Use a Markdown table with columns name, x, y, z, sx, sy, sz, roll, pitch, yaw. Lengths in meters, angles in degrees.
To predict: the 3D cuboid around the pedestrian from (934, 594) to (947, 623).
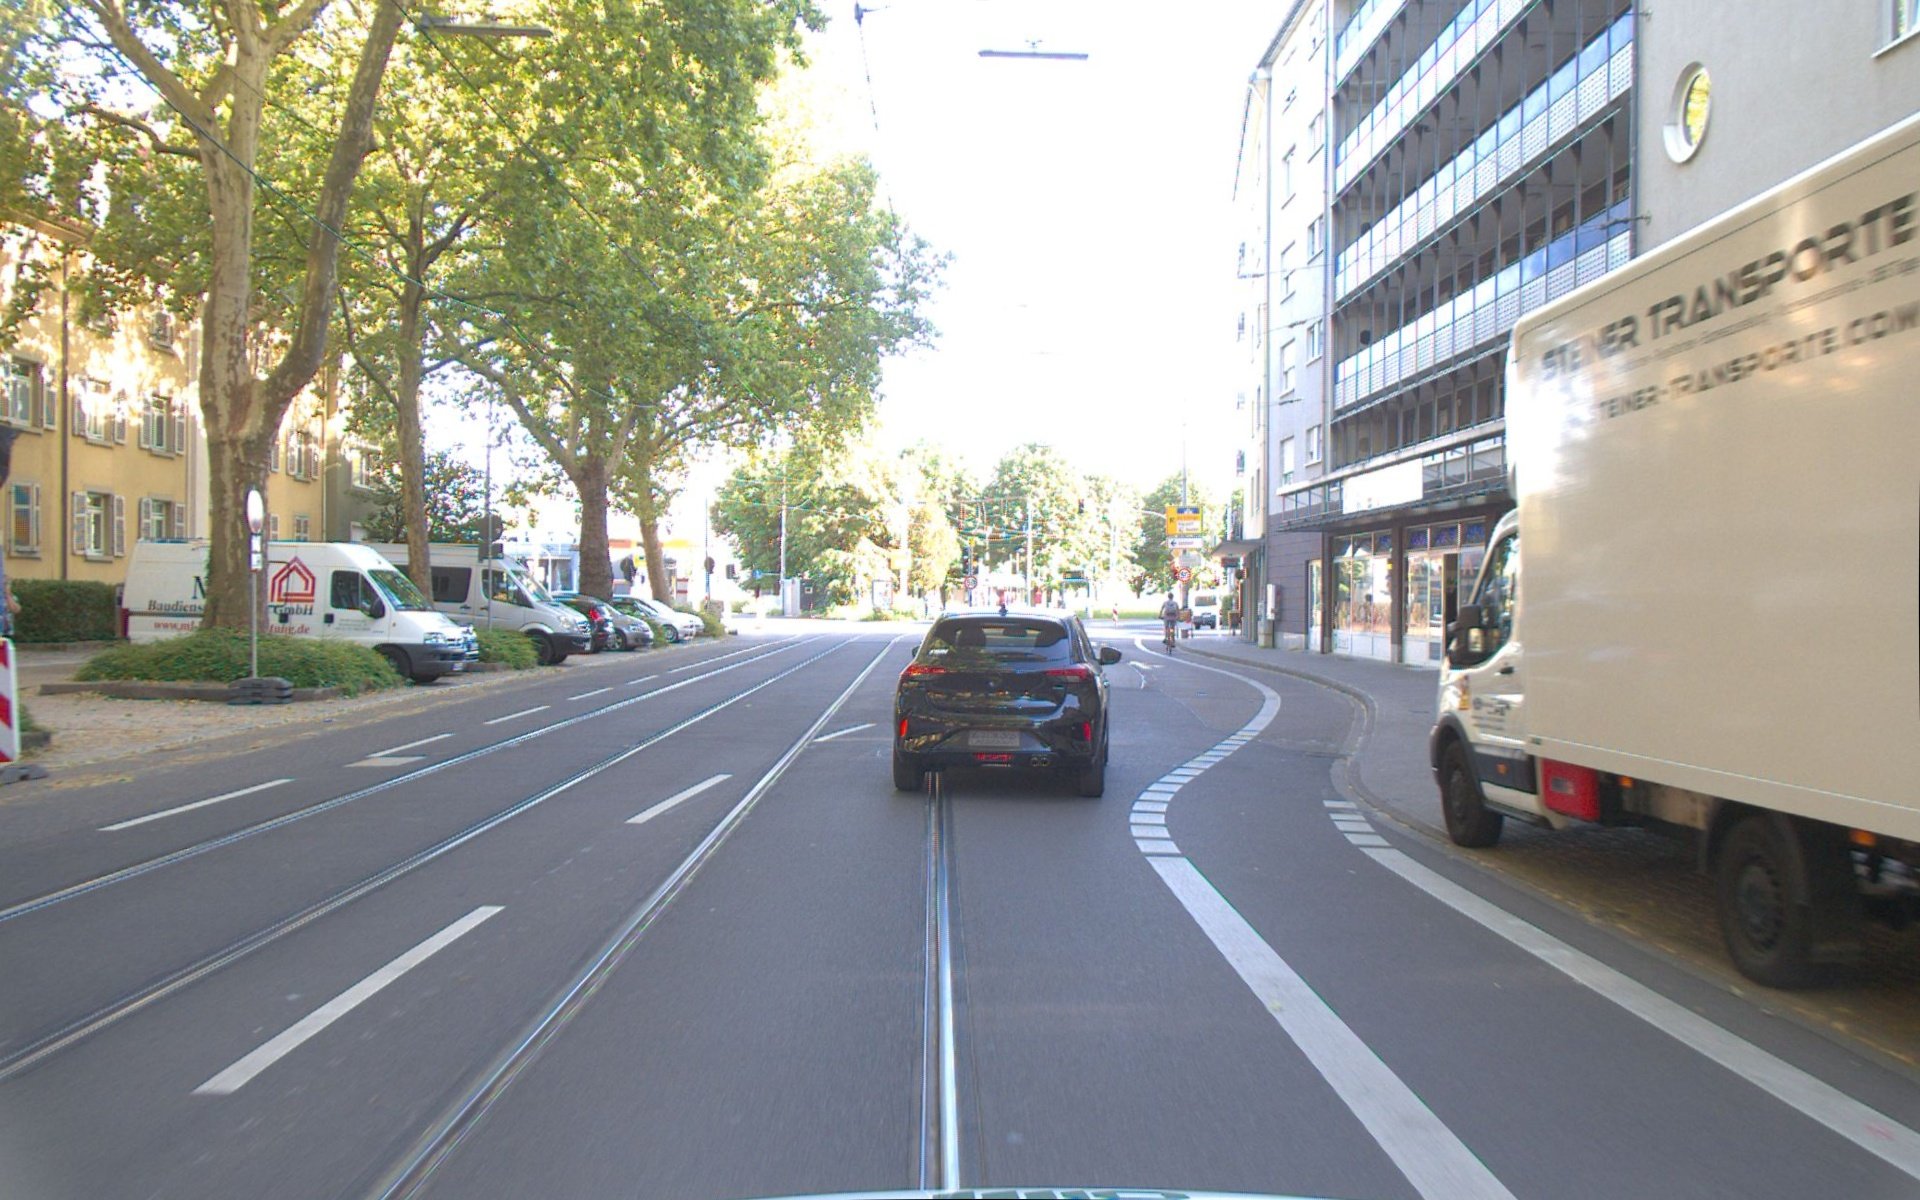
| name | x | y | z | sx | sy | sz | roll | pitch | yaw |
| --- | --- | --- | --- | --- | --- | --- | --- | --- | --- |
| pedestrian | -1.272 | 0.566 | 107.871 | 0.604 | 1.886 | 0.583 | 1 | -1 | 24 |

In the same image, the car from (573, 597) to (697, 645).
| name | x | y | z | sx | sy | sz | roll | pitch | yaw |
| --- | --- | --- | --- | --- | --- | --- | --- | --- | --- |
| car | -11.221 | 0.716 | 57.280 | 3.905 | 1.541 | 1.650 | 2 | 0 | 0 |

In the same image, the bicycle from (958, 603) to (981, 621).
| name | x | y | z | sx | sy | sz | roll | pitch | yaw |
| --- | --- | --- | --- | --- | --- | --- | --- | --- | --- |
| bicycle | 0.567 | 0.726 | 98.133 | 0.771 | 1.009 | 2.245 | 1 | 0 | 15 |

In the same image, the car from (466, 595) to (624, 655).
| name | x | y | z | sx | sy | sz | roll | pitch | yaw |
| --- | --- | --- | --- | --- | --- | --- | --- | --- | --- |
| car | -11.427 | 0.680 | 45.744 | 3.905 | 1.541 | 1.650 | 2 | 0 | 0 |

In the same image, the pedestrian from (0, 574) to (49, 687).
| name | x | y | z | sx | sy | sz | roll | pitch | yaw |
| --- | --- | --- | --- | --- | --- | --- | --- | --- | --- |
| pedestrian | -14.206 | 0.439 | 24.582 | 0.744 | 1.640 | 0.889 | 2 | 0 | 7 |

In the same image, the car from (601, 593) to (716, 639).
| name | x | y | z | sx | sy | sz | roll | pitch | yaw |
| --- | --- | --- | --- | --- | --- | --- | --- | --- | --- |
| car | -11.434 | 0.601 | 62.848 | 4.086 | 1.700 | 1.963 | 0 | 0 | -4 |

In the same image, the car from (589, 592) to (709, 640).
| name | x | y | z | sx | sy | sz | roll | pitch | yaw |
| --- | --- | --- | --- | --- | --- | --- | --- | --- | --- |
| car | -11.304 | 0.586 | 60.415 | 4.086 | 1.700 | 1.963 | 0 | 0 | -4 |

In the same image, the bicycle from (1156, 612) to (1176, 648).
| name | x | y | z | sx | sy | sz | roll | pitch | yaw |
| --- | --- | --- | --- | --- | --- | --- | --- | --- | --- |
| bicycle | 6.404 | 0.922 | 51.290 | 0.497 | 1.086 | 1.566 | 0 | 0 | 11 |

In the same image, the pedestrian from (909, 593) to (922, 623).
| name | x | y | z | sx | sy | sz | roll | pitch | yaw |
| --- | --- | --- | --- | --- | --- | --- | --- | --- | --- |
| pedestrian | -2.882 | 0.522 | 107.510 | 0.604 | 1.886 | 0.583 | 1 | -1 | 25 |

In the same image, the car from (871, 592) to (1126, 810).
| name | x | y | z | sx | sy | sz | roll | pitch | yaw |
| --- | --- | --- | --- | --- | --- | --- | --- | --- | --- |
| car | 0.469 | 0.713 | 13.909 | 1.743 | 1.522 | 4.003 | 1 | 0 | 7 |

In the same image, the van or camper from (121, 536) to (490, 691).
| name | x | y | z | sx | sy | sz | roll | pitch | yaw |
| --- | --- | --- | --- | --- | --- | --- | --- | --- | --- |
| van or camper | -11.206 | 0.225 | 28.607 | 5.387 | 2.421 | 2.270 | 2 | 0 | 3 |

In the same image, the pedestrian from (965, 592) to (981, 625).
| name | x | y | z | sx | sy | sz | roll | pitch | yaw |
| --- | --- | --- | --- | --- | --- | --- | --- | --- | --- |
| pedestrian | 0.566 | 0.375 | 70.433 | 0.639 | 1.387 | 0.645 | 0 | 0 | 6 |

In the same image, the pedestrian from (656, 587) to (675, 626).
| name | x | y | z | sx | sy | sz | roll | pitch | yaw |
| --- | --- | --- | --- | --- | --- | --- | --- | --- | --- |
| pedestrian | -17.644 | 0.394 | 99.070 | 0.812 | 2.259 | 0.888 | 2 | -1 | -35 |

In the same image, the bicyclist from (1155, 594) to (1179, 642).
| name | x | y | z | sx | sy | sz | roll | pitch | yaw |
| --- | --- | --- | --- | --- | --- | --- | --- | --- | --- |
| bicyclist | 6.423 | 0.558 | 51.333 | 0.691 | 1.461 | 0.703 | 0 | 0 | 11 |

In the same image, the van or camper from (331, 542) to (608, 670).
| name | x | y | z | sx | sy | sz | roll | pitch | yaw |
| --- | --- | --- | --- | --- | --- | --- | --- | --- | --- |
| van or camper | -11.145 | 0.136 | 37.927 | 5.607 | 2.690 | 2.269 | 2 | 0 | -1 |

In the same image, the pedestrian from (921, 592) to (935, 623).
| name | x | y | z | sx | sy | sz | roll | pitch | yaw |
| --- | --- | --- | --- | --- | --- | --- | --- | --- | --- |
| pedestrian | -2.067 | 0.495 | 107.633 | 0.645 | 1.966 | 0.608 | 1 | -1 | 31 |

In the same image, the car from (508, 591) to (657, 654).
| name | x | y | z | sx | sy | sz | roll | pitch | yaw |
| --- | --- | --- | --- | --- | --- | --- | --- | --- | --- |
| car | -10.974 | 0.645 | 48.283 | 3.905 | 1.680 | 1.650 | 2 | 0 | 0 |

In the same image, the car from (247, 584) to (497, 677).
| name | x | y | z | sx | sy | sz | roll | pitch | yaw |
| --- | --- | --- | --- | --- | --- | --- | --- | --- | --- |
| car | -11.125 | 0.567 | 31.519 | 4.086 | 1.700 | 1.963 | 0 | 0 | -4 |

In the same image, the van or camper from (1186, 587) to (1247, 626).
| name | x | y | z | sx | sy | sz | roll | pitch | yaw |
| --- | --- | --- | --- | --- | --- | --- | --- | --- | --- |
| van or camper | 15.090 | 0.395 | 97.052 | 2.127 | 2.183 | 4.498 | 1 | 0 | 29 |

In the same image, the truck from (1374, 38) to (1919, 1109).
| name | x | y | z | sx | sy | sz | roll | pitch | yaw |
| --- | --- | --- | --- | --- | --- | --- | --- | --- | --- |
| truck | 4.275 | -0.100 | 8.238 | 2.486 | 3.396 | 7.194 | -2 | 0 | 0 |
